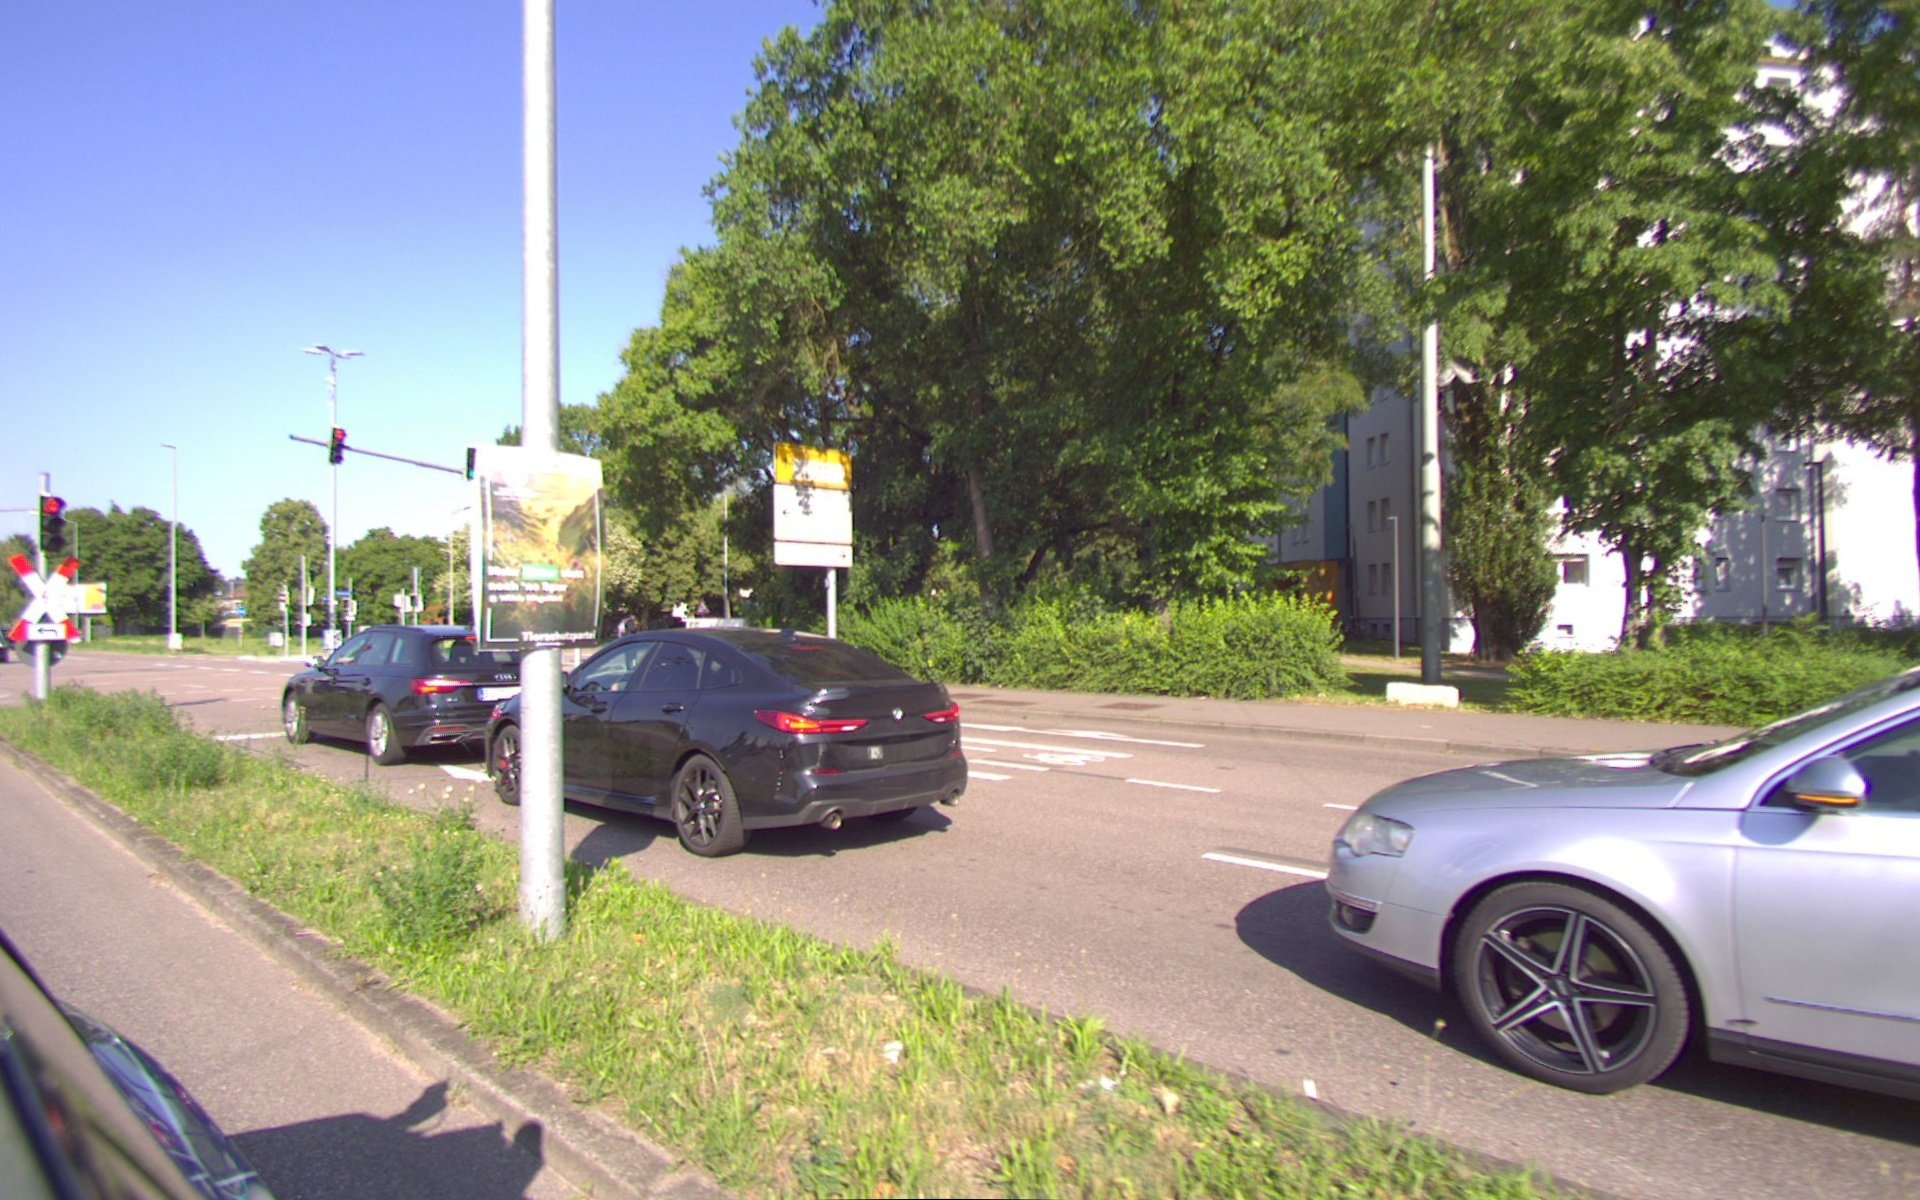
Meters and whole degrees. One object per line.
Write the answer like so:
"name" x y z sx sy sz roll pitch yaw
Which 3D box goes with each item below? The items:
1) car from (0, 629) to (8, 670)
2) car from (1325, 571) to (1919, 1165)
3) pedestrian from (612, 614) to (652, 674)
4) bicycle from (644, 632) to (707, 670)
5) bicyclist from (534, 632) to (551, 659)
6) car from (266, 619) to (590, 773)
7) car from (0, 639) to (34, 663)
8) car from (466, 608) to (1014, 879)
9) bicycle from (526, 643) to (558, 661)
"car" -41.727 2.093 42.756 4.609 1.663 1.797 -2 -1 42
"car" 3.623 0.685 2.708 4.644 1.489 1.829 -2 -3 42
"pedestrian" -10.048 1.337 30.988 0.806 1.765 0.932 0 -2 -44
"bicycle" -8.986 1.592 32.023 0.632 1.127 1.889 -2 -2 40
"bicyclist" -23.690 2.576 57.385 0.614 1.535 0.623 -2 -2 21
"car" -6.309 0.978 11.731 4.730 1.442 1.809 -2 -3 42
"car" -70.617 3.794 75.390 4.383 1.672 1.968 -2 -2 42
"car" -1.856 0.846 7.583 4.379 1.446 1.809 -2 -3 42
"bicycle" -23.671 2.945 57.378 0.649 0.910 1.797 -1 -1 20
